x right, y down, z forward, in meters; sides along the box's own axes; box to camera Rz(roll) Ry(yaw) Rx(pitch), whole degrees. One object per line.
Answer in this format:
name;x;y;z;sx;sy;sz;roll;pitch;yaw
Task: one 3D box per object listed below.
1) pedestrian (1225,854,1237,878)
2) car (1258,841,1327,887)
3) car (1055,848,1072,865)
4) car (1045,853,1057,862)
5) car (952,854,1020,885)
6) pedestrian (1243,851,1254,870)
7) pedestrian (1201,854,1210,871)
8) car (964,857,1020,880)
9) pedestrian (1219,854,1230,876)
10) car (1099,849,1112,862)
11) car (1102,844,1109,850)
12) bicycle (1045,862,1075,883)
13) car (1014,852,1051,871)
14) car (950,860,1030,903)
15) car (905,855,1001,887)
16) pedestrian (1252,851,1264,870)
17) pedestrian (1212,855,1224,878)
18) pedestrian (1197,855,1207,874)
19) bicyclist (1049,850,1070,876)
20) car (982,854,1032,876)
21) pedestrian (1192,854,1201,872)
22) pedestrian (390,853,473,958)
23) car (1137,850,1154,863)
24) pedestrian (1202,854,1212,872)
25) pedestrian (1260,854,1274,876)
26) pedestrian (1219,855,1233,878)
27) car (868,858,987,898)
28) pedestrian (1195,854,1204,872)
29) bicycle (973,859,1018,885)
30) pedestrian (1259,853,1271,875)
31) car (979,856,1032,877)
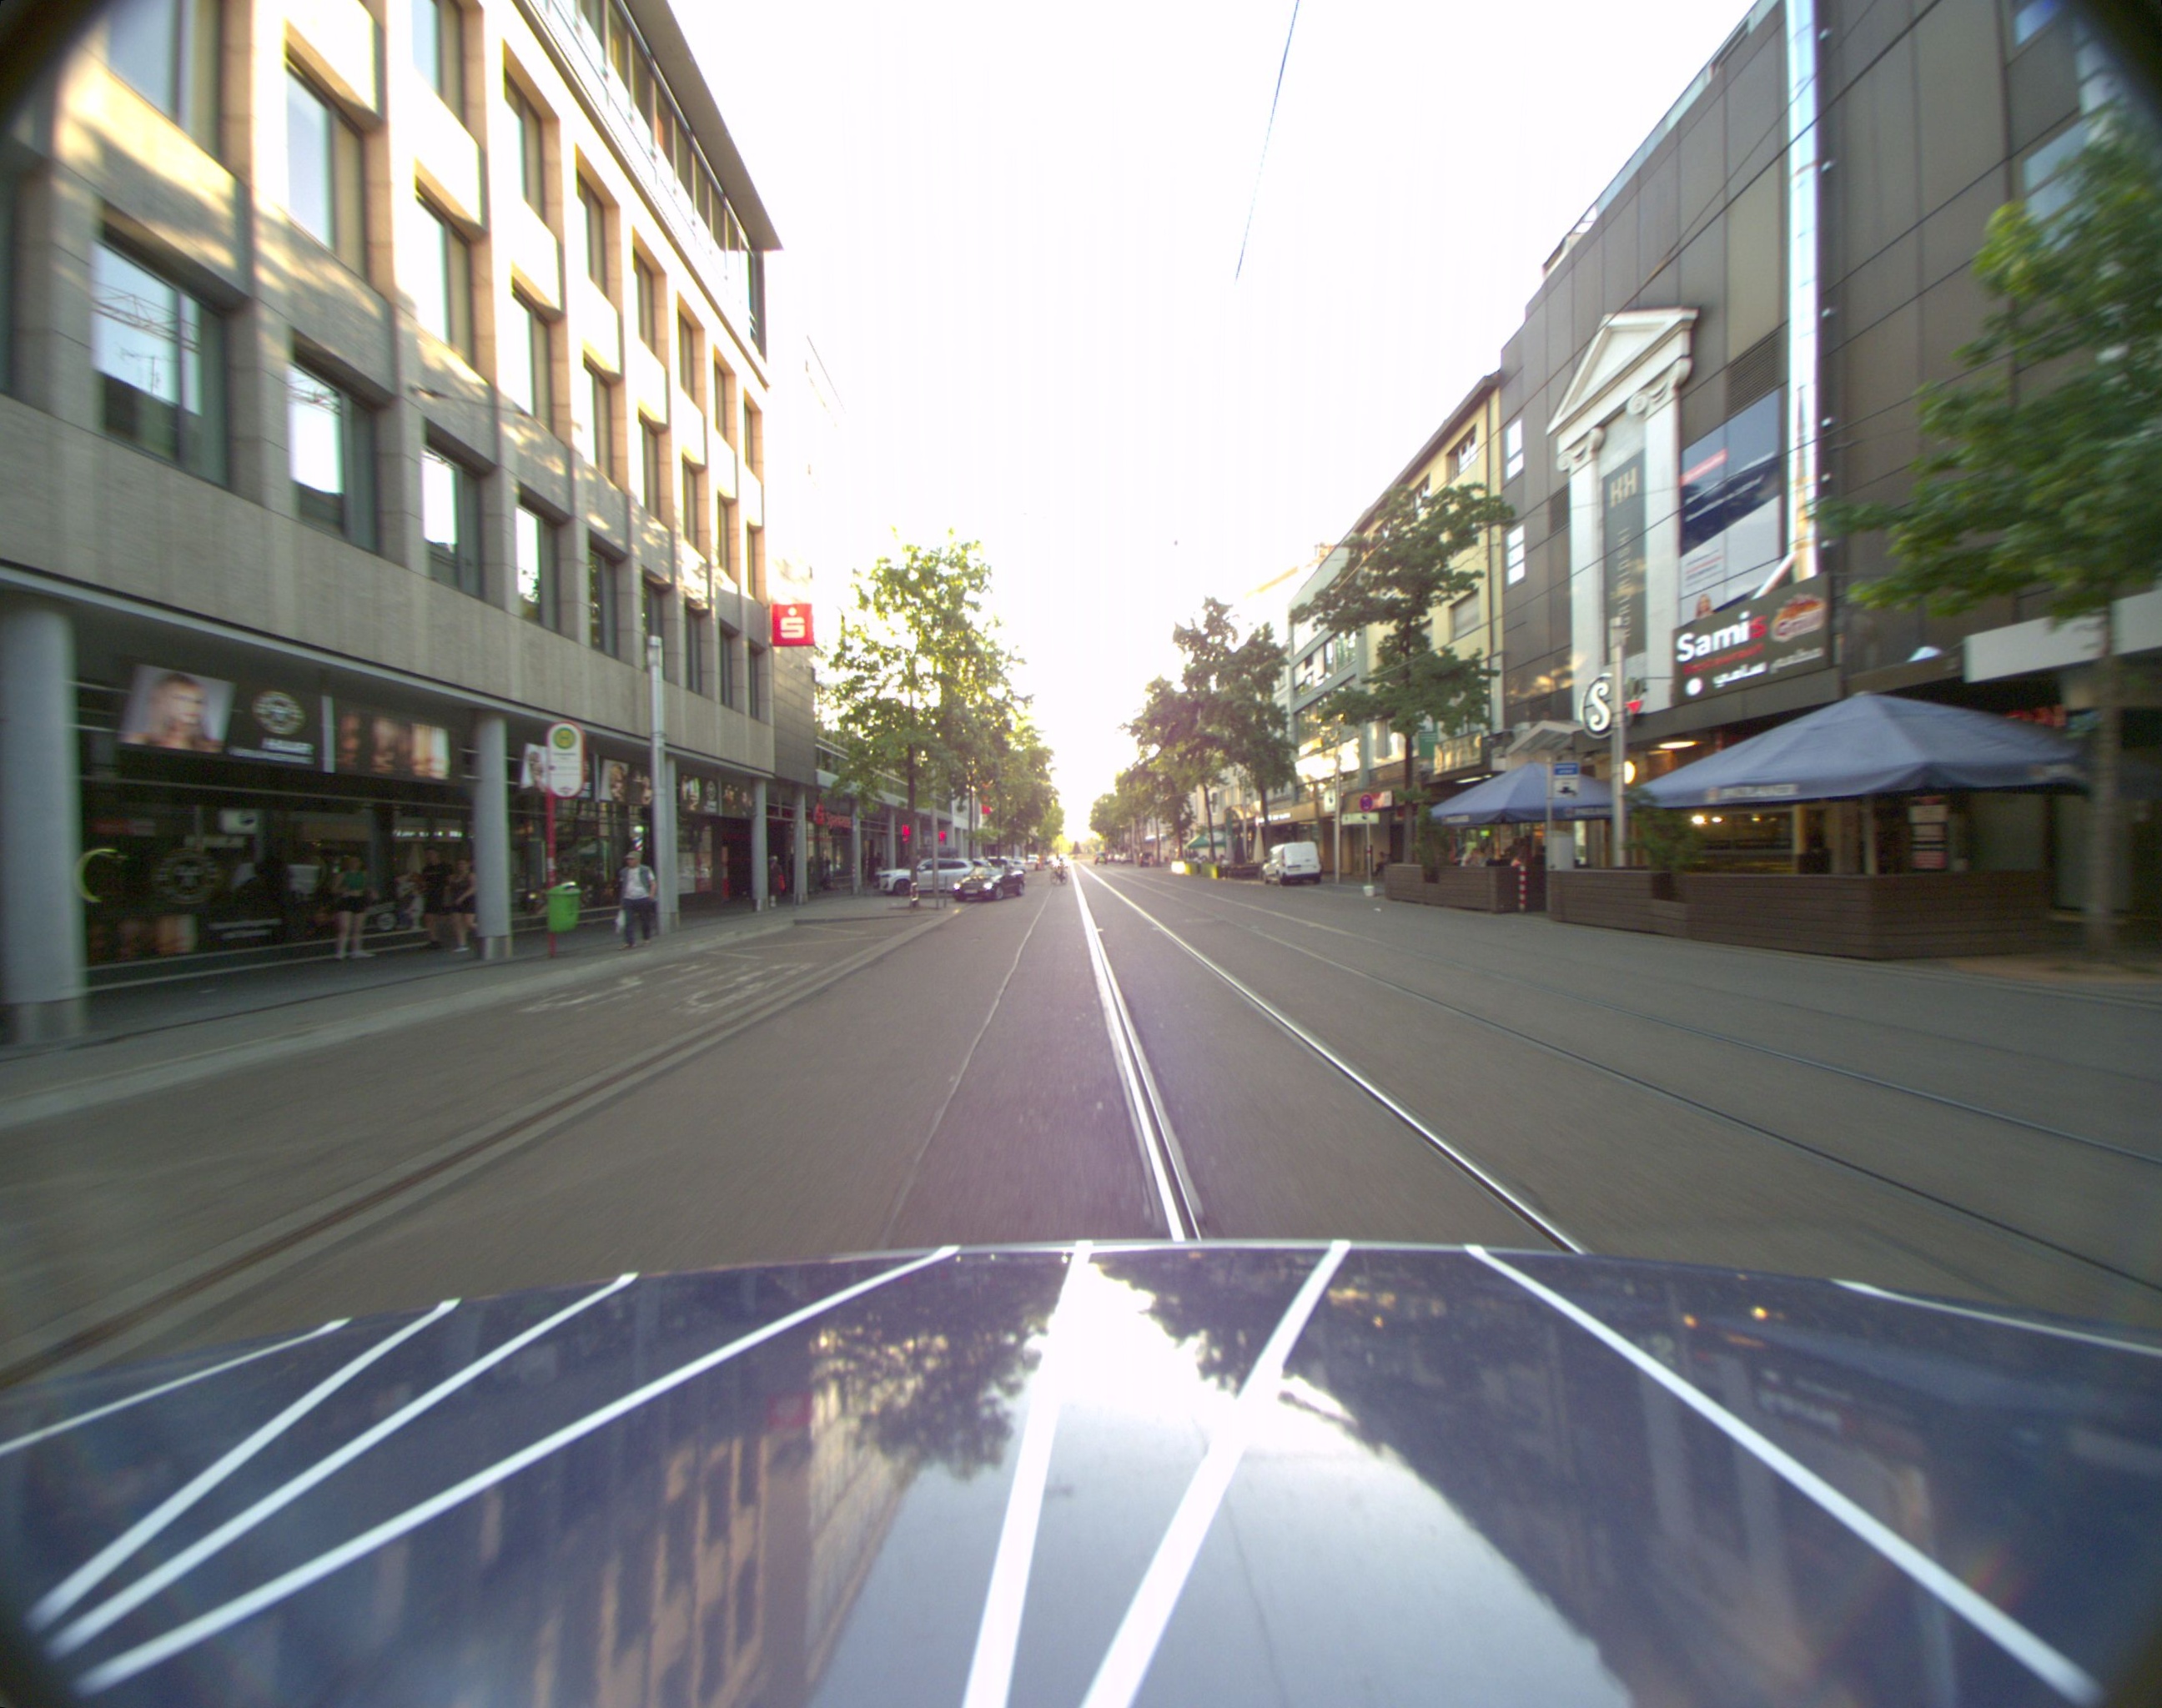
pedestrian;9.519;0.757;48.154;0.649;1.451;0.651;-1;1;17
car;9.444;0.401;34.281;1.830;1.811;4.329;-4;0;1
car;-2.223;0.313;97.851;1.998;2.002;4.000;-1;0;0
car;-5.402;0.689;136.982;1.793;1.499;3.999;-2;1;0
car;-6.784;1.075;54.576;4.474;1.869;1.796;-4;1;-37
pedestrian;12.542;0.487;56.990;0.650;1.451;0.650;-1;1;-3
pedestrian;9.747;0.668;59.679;0.649;1.378;0.650;-1;1;6
car;-7.193;1.157;61.389;4.005;1.501;1.796;-4;1;-30
pedestrian;9.673;0.719;51.274;0.649;1.451;0.651;-1;1;13
car;3.897;0.216;122.518;1.998;2.002;4.000;-1;0;0
car;6.924;-1.910;215.514;1.799;1.501;4.000;-1;0;0
bicycle;-1.163;1.016;42.101;0.734;1.067;1.861;-1;1;-35
car;-5.258;0.778;82.544;1.860;1.776;4.007;-4;1;34
car;-3.476;1.030;29.979;1.797;1.400;4.568;-2;0;11
car;-6.726;0.897;40.117;4.646;1.578;1.913;1;0;-35
pedestrian;13.061;0.477;56.078;0.650;1.451;0.650;-1;1;-3
pedestrian;8.723;0.784;48.304;0.649;1.451;0.650;-1;1;0
pedestrian;8.675;0.759;54.597;0.649;1.378;0.650;-1;1;6
bicyclist;-1.193;0.489;42.127;0.762;1.406;0.895;-1;1;-35
car;-6.771;1.007;69.650;4.004;1.776;1.861;-4;1;-24
pedestrian;9.097;0.691;59.733;0.649;1.378;0.650;-1;1;6
pedestrian;-11.344;0.872;13.303;0.675;1.762;0.863;-1;1;-1
car;8.119;0.331;95.972;1.799;1.501;4.000;-1;0;0
pedestrian;9.699;0.682;58.467;0.649;1.378;0.650;-1;1;6
pedestrian;12.369;0.703;50.474;0.650;1.451;0.649;-1;1;-9
pedestrian;9.017;0.783;47.366;0.648;1.451;0.651;-1;1;29
car;-6.596;1.012;32.786;4.646;1.619;1.914;1;-2;-32
pedestrian;9.105;0.703;58.491;0.649;1.378;0.650;-1;1;6
bicycle;-5.471;1.140;48.832;2.677;1.448;0.728;-4;1;-27
pedestrian;12.453;0.690;51.431;0.650;1.451;0.650;-1;1;-2
car;-6.455;1.093;64.941;4.005;1.501;1.861;-4;1;-30
